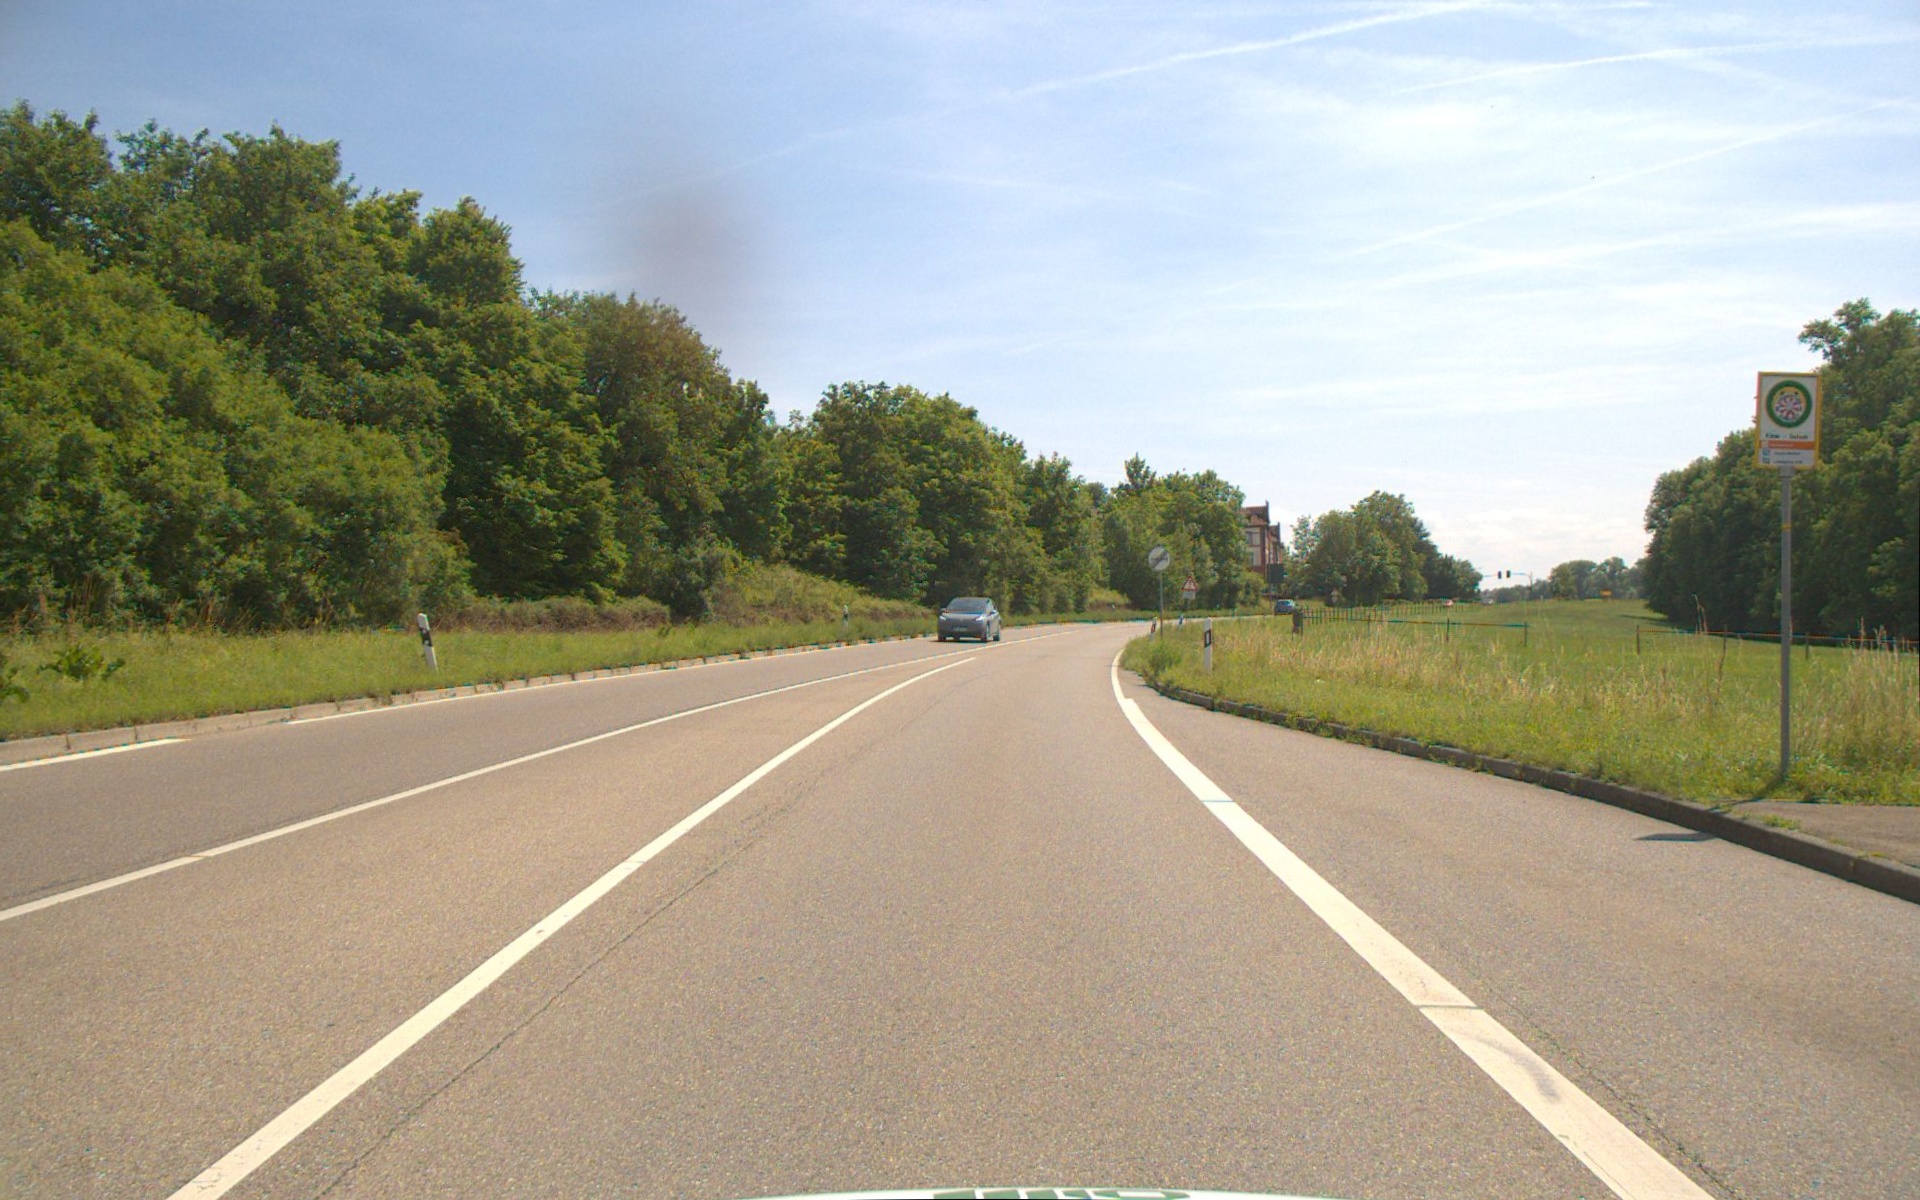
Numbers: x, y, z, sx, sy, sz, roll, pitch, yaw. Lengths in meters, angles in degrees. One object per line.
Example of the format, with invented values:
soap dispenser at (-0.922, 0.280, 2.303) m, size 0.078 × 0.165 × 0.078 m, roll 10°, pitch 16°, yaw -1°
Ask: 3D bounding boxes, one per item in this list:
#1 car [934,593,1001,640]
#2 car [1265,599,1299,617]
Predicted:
car at (0.306, 0.577, 58.740) m, size 1.717 × 1.561 × 4.232 m, roll 1°, pitch 0°, yaw 9°
car at (29.475, 0.766, 151.304) m, size 1.955 × 1.601 × 3.994 m, roll 1°, pitch 0°, yaw 28°
